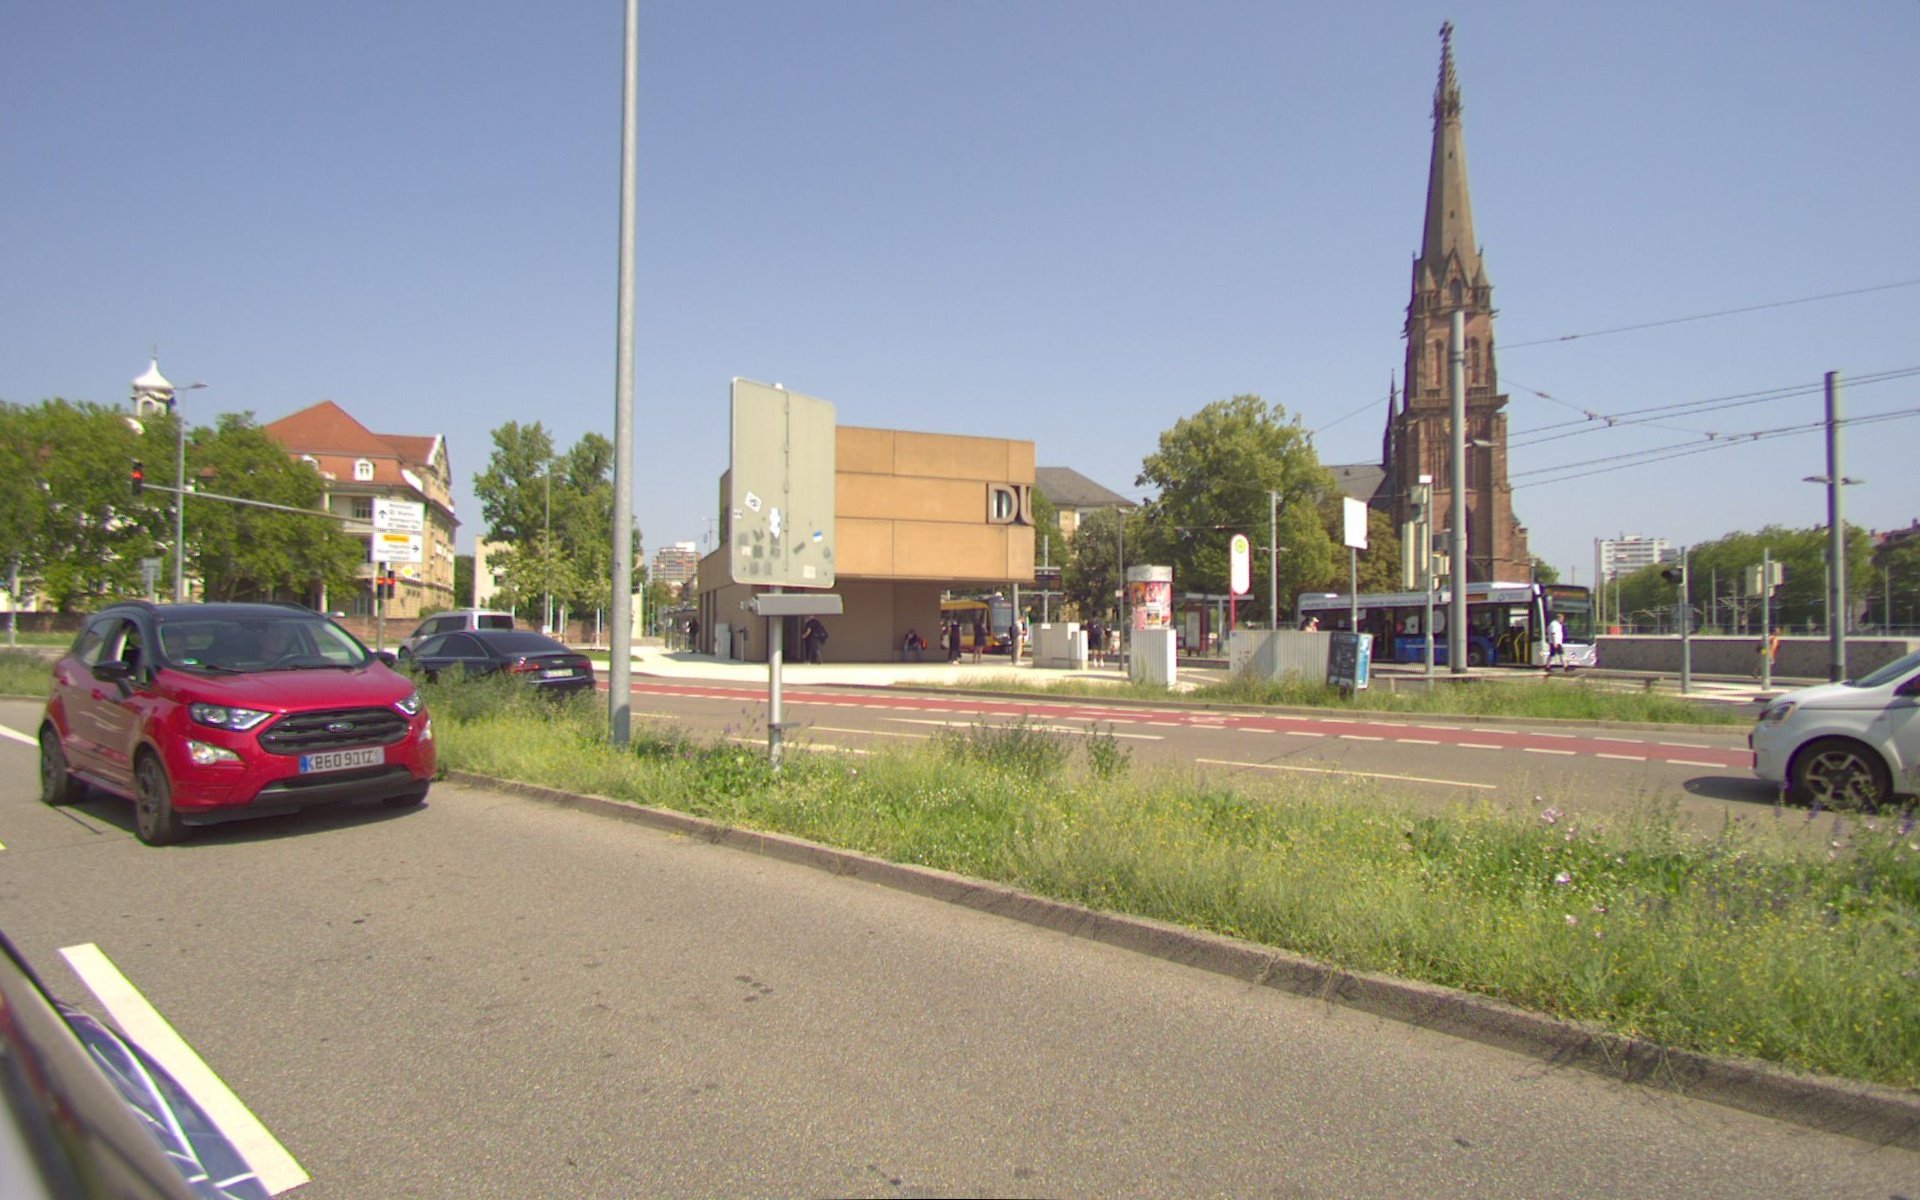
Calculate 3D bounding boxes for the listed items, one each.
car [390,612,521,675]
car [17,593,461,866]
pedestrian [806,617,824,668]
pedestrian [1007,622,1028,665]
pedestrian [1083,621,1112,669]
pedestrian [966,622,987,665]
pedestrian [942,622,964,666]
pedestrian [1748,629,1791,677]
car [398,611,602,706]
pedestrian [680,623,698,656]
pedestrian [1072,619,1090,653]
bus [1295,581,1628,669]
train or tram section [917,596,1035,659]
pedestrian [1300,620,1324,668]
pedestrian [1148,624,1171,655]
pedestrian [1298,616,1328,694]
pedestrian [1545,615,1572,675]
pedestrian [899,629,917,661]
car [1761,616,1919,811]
[{"bbox_3d":[-15.811,1.318,31.682,3.900,1.868,1.850,-1,-2,30],"label":"car"},{"bbox_3d":[-5.632,0.800,7.760,3.837,1.598,1.675,-2,-1,36],"label":"car"},{"bbox_3d":[-4.776,1.397,33.282,0.533,1.637,0.690,1,-2,-13],"label":"pedestrian"},{"bbox_3d":[2.036,1.538,35.669,0.541,1.508,0.532,-2,-3,41],"label":"pedestrian"},{"bbox_3d":[4.421,1.446,32.586,0.606,1.508,0.761,-2,-3,41],"label":"pedestrian"},{"bbox_3d":[0.588,1.521,35.663,0.541,1.508,0.532,-2,-3,41],"label":"pedestrian"},{"bbox_3d":[-0.248,1.508,34.880,0.541,1.508,0.532,-2,-3,41],"label":"pedestrian"},{"bbox_3d":[26.646,1.731,33.310,0.730,1.555,0.861,1,-2,-28],"label":"pedestrian"},{"bbox_3d":[-7.749,0.942,16.982,3.468,1.437,1.509,-1,-2,34],"label":"car"},{"bbox_3d":[-12.472,1.802,46.586,0.676,1.492,0.543,1,-2,-24],"label":"pedestrian"},{"bbox_3d":[6.597,1.987,55.308,0.792,1.837,0.535,1,-2,-20],"label":"pedestrian"},{"bbox_3d":[18.022,0.990,38.141,3.346,2.733,12.381,1,-2,-19],"label":"bus"},{"bbox_3d":[0.616,1.716,62.161,2.658,3.465,13.463,1,-2,-20],"label":"train or tram section"},{"bbox_3d":[12.981,1.611,37.323,0.691,1.724,0.530,-1,-2,33],"label":"pedestrian"},{"bbox_3d":[10.966,2.177,55.621,0.832,1.709,0.961,1,-2,-20],"label":"pedestrian"},{"bbox_3d":[8.409,1.298,24.119,0.633,1.825,0.598,-1,0,17],"label":"pedestrian"},{"bbox_3d":[18.345,1.368,31.032,0.637,1.825,0.594,-1,0,38],"label":"pedestrian"},{"bbox_3d":[-1.857,1.599,35.977,0.530,1.108,0.543,1,-2,-16],"label":"pedestrian"},{"bbox_3d":[8.427,0.866,7.722,3.478,1.490,1.504,-2,-3,44],"label":"car"}]
